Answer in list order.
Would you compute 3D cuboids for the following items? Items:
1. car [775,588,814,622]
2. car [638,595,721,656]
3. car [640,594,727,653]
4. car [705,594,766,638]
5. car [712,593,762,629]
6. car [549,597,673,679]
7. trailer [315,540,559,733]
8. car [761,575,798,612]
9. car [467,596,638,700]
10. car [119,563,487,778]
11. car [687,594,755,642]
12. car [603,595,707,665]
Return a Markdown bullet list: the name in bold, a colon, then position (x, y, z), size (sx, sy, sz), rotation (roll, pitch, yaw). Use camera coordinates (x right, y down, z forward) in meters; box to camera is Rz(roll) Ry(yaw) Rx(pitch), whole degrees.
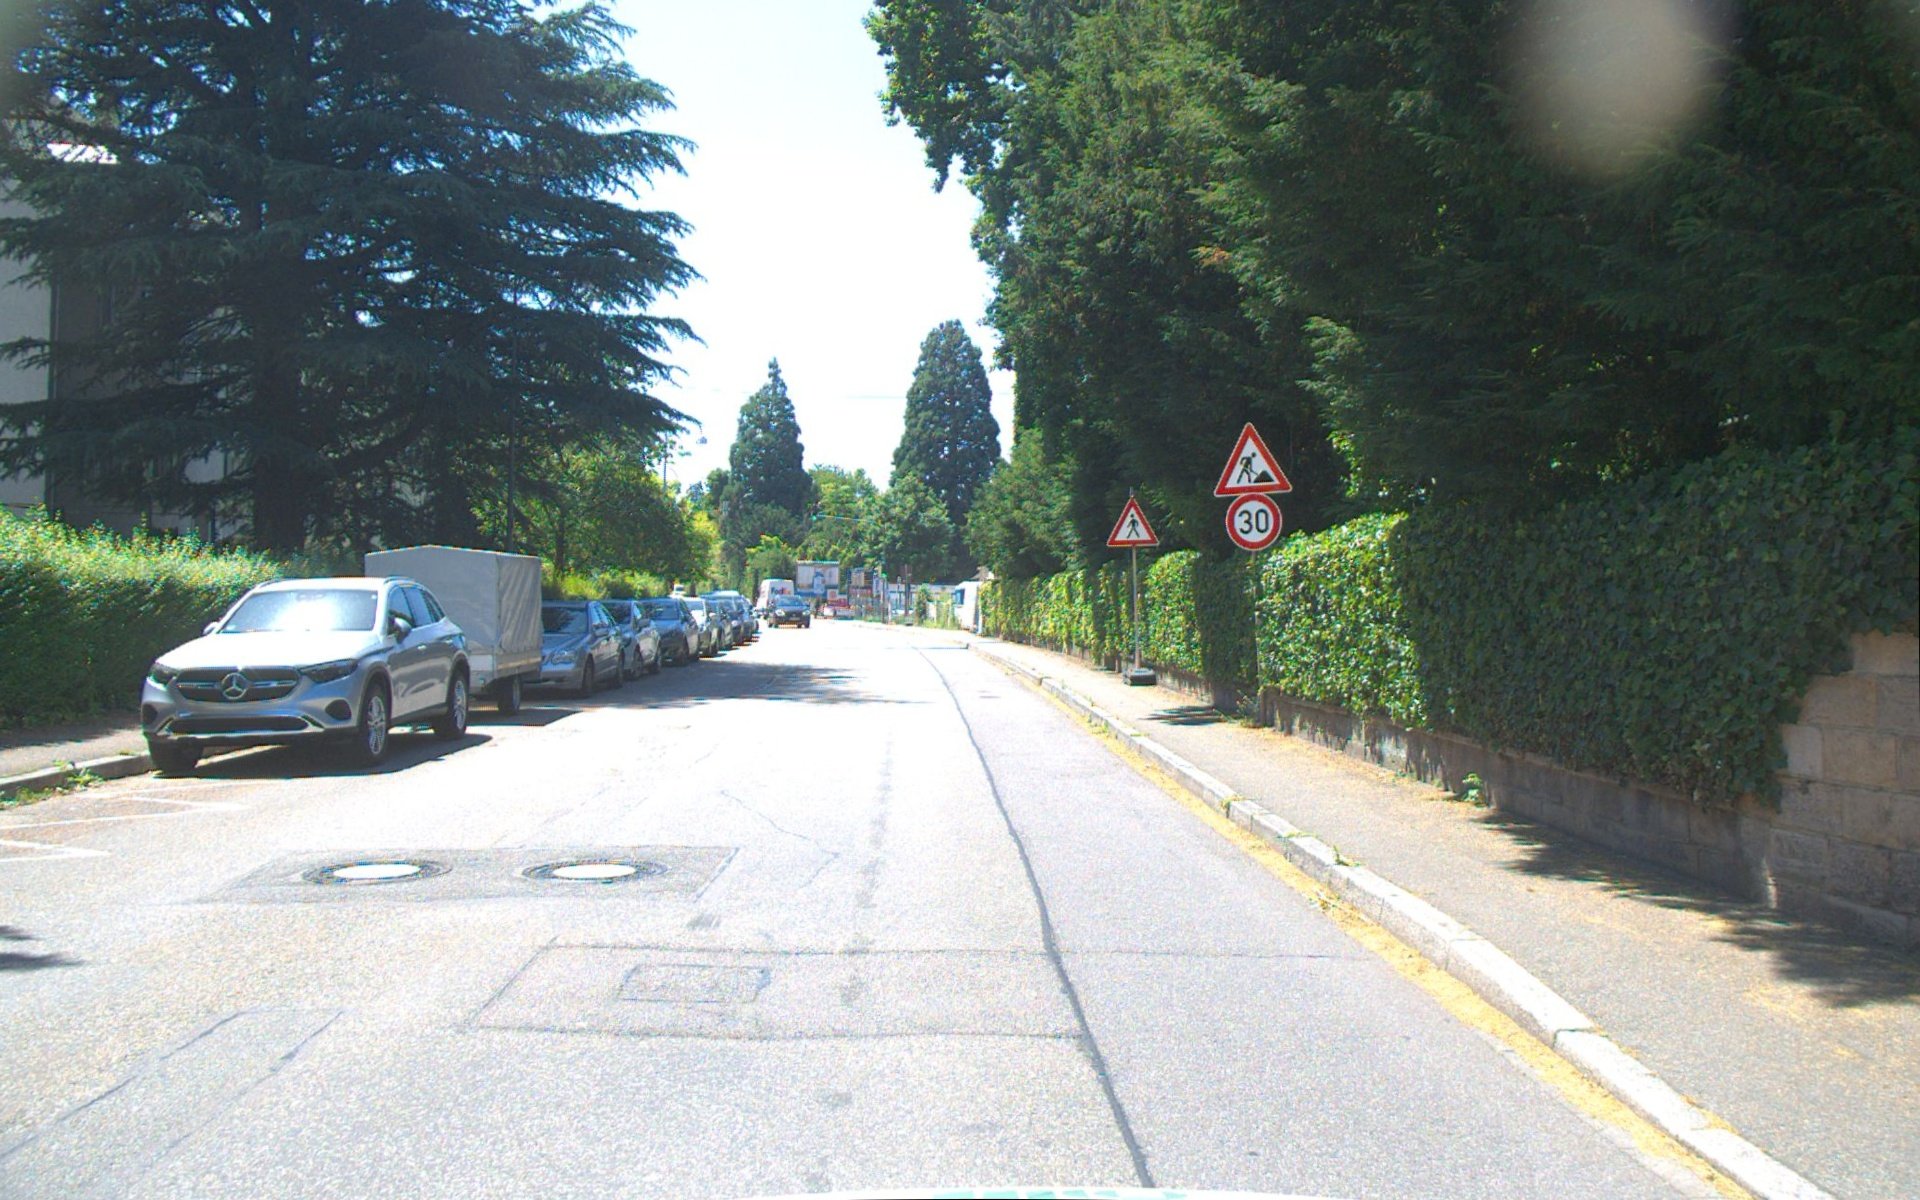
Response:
- **car**: position (-8.043, 0.241, 80.646), size (1.816, 1.612, 4.132), rotation (0, 0, -4)
- **car**: position (-7.174, 0.615, 42.590), size (1.655, 1.474, 3.997), rotation (1, 0, -3)
- **car**: position (-7.129, 0.576, 43.008), size (1.654, 1.470, 4.134), rotation (0, 0, -1)
- **car**: position (-7.836, 0.548, 58.129), size (1.654, 1.470, 4.134), rotation (0, 0, -1)
- **car**: position (-9.499, 0.445, 70.800), size (1.654, 1.470, 4.134), rotation (0, 0, -1)
- **car**: position (-6.485, 0.665, 31.090), size (1.550, 1.414, 3.882), rotation (-1, 0, -1)
- **trailer**: position (-6.230, 0.391, 20.192), size (1.811, 2.076, 4.160), rotation (-1, 0, -3)
- **car**: position (-11.930, -0.438, 109.082), size (2.105, 2.356, 4.840), rotation (-1, 0, -11)
- **car**: position (-6.279, 0.685, 25.934), size (1.675, 1.464, 4.321), rotation (-1, 0, -1)
- **car**: position (-5.992, 0.569, 15.761), size (1.814, 1.700, 4.709), rotation (-1, 0, -3)
- **car**: position (-7.589, 0.556, 52.795), size (1.654, 1.470, 4.134), rotation (0, 0, -1)
- **car**: position (-6.767, 0.628, 37.052), size (1.654, 1.470, 4.134), rotation (0, 0, -1)
